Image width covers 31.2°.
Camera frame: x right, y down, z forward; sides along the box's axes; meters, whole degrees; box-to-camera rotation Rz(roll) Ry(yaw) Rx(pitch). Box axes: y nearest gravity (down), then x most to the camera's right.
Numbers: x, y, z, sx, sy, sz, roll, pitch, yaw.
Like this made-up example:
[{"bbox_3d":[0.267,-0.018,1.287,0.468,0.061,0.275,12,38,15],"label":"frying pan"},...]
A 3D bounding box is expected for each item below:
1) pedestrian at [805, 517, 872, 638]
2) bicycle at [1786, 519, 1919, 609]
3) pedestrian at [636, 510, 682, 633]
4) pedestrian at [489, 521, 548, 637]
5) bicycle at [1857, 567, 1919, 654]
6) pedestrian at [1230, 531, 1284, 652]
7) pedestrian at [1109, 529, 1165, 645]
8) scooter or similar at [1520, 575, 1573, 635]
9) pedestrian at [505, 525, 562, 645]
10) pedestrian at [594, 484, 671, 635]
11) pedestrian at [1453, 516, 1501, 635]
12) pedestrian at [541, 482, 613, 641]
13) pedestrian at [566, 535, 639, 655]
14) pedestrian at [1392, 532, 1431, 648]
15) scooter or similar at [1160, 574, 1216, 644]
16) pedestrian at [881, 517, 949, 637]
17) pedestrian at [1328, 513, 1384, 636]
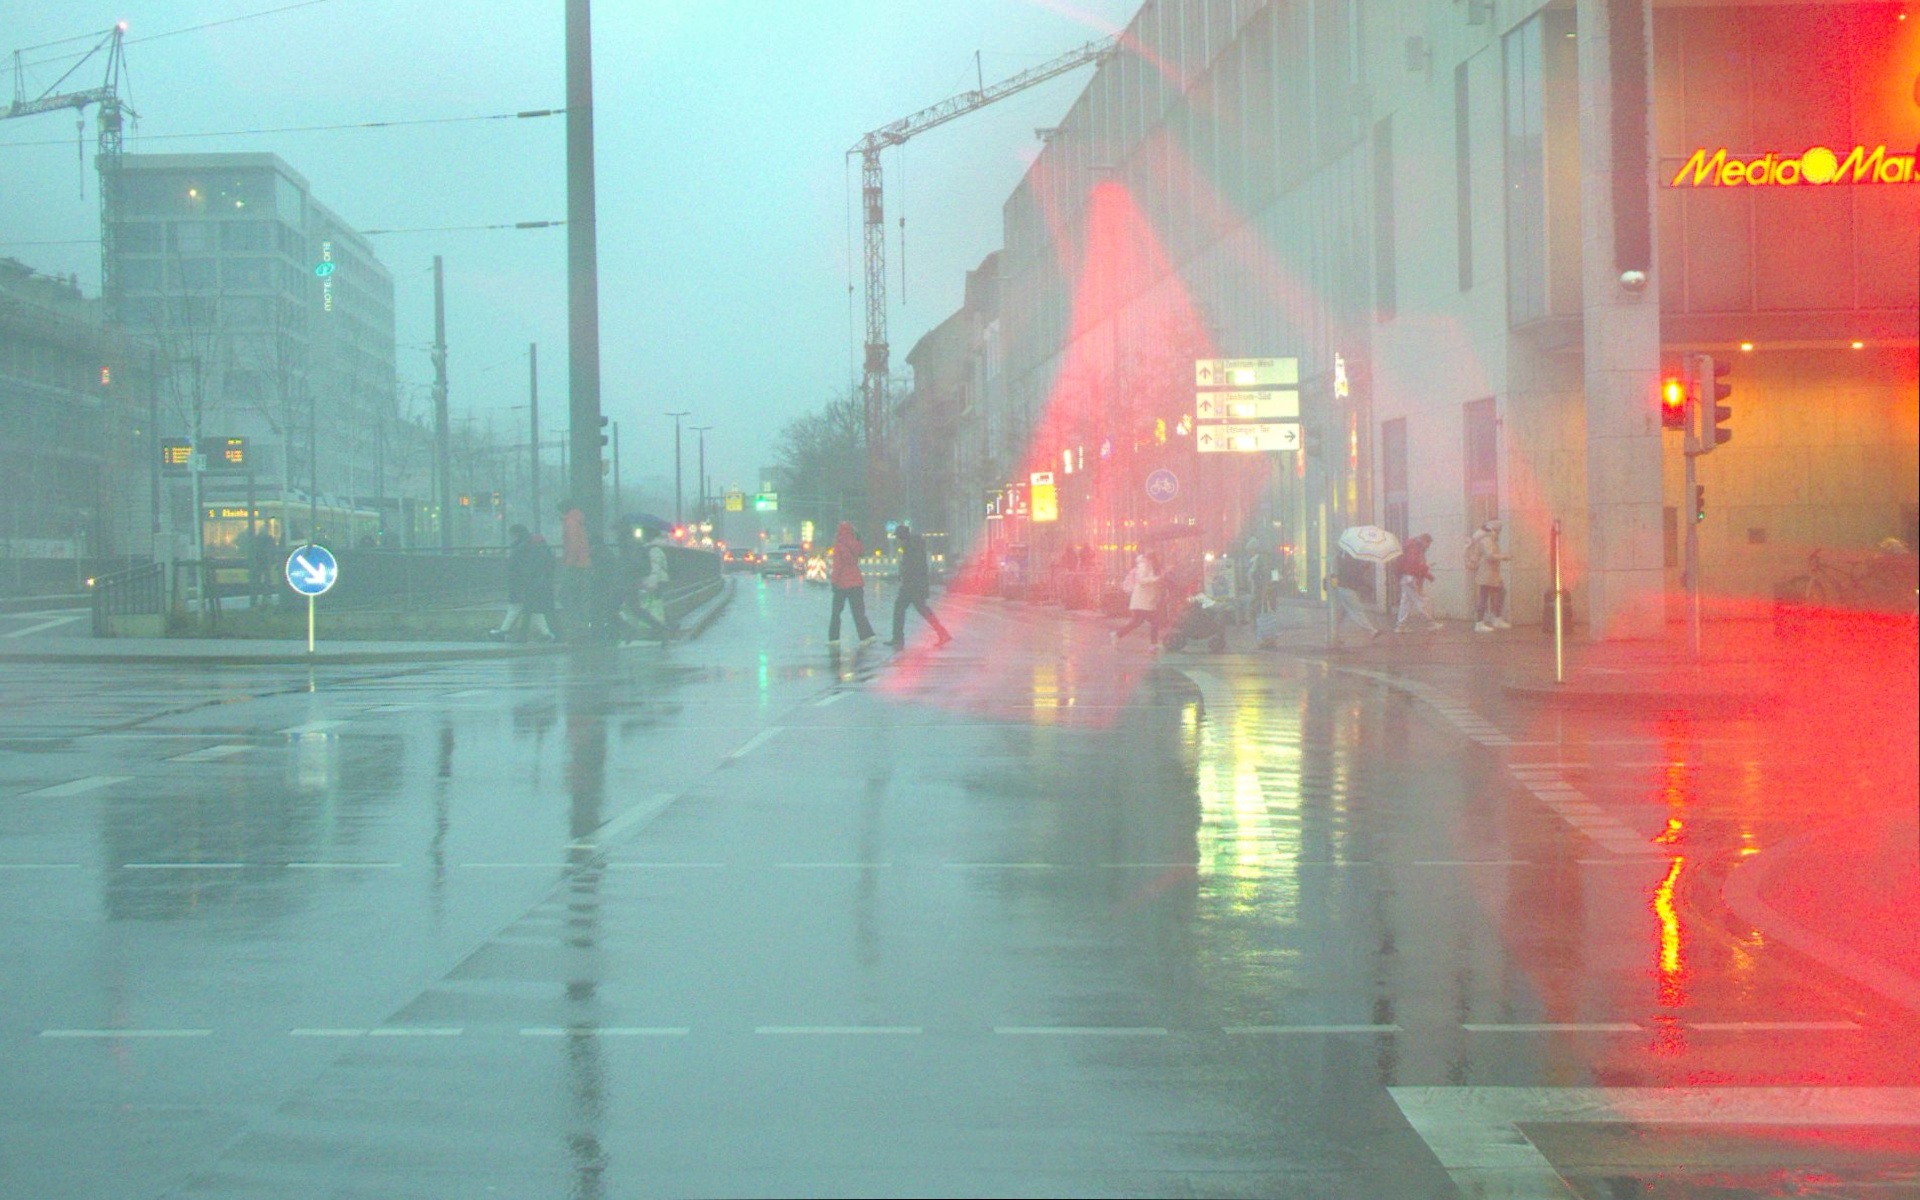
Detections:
[{"bbox_3d":[-1.708,-0.315,48.294,0.831,1.673,0.619,-1,1,6],"label":"pedestrian"},{"bbox_3d":[13.872,-0.553,52.350,2.425,1.325,0.635,-1,1,-5],"label":"bicycle"},{"bbox_3d":[-4.331,-0.416,49.389,0.619,1.740,0.613,-1,1,-5],"label":"pedestrian"},{"bbox_3d":[-6.214,-0.301,48.429,0.706,1.613,0.680,-1,1,1],"label":"pedestrian"},{"bbox_3d":[11.508,0.126,39.769,2.129,0.988,0.541,0,0,7],"label":"bicycle"},{"bbox_3d":[4.367,-0.125,50.593,0.703,1.754,0.652,-1,1,0],"label":"pedestrian"},{"bbox_3d":[2.565,-0.190,49.809,0.741,1.661,0.400,-1,1,12],"label":"pedestrian"},{"bbox_3d":[9.086,0.080,53.289,0.741,0.913,0.400,-1,1,1],"label":"scooter or similar"},{"bbox_3d":[-5.829,-0.206,47.007,0.706,1.613,0.613,-1,1,-3],"label":"pedestrian"},{"bbox_3d":[-4.399,-0.544,46.193,0.775,2.007,0.613,-2,1,-38],"label":"pedestrian"},{"bbox_3d":[7.741,-0.368,51.474,0.617,1.754,0.482,-1,1,0],"label":"pedestrian"},{"bbox_3d":[-5.046,-0.512,45.291,0.686,2.080,0.613,-2,1,-40],"label":"pedestrian"},{"bbox_3d":[-4.908,-0.070,47.144,0.817,1.613,0.538,-1,1,37],"label":"pedestrian"},{"bbox_3d":[6.891,-0.161,52.501,0.512,1.754,0.374,-1,1,0],"label":"pedestrian"},{"bbox_3d":[3.301,0.123,49.663,0.741,0.990,0.400,-1,1,12],"label":"scooter or similar"},{"bbox_3d":[-0.635,-0.336,49.025,0.843,1.682,0.677,-1,1,9],"label":"pedestrian"},{"bbox_3d":[5.697,-0.372,49.486,0.702,1.754,0.667,-1,1,0],"label":"pedestrian"}]
